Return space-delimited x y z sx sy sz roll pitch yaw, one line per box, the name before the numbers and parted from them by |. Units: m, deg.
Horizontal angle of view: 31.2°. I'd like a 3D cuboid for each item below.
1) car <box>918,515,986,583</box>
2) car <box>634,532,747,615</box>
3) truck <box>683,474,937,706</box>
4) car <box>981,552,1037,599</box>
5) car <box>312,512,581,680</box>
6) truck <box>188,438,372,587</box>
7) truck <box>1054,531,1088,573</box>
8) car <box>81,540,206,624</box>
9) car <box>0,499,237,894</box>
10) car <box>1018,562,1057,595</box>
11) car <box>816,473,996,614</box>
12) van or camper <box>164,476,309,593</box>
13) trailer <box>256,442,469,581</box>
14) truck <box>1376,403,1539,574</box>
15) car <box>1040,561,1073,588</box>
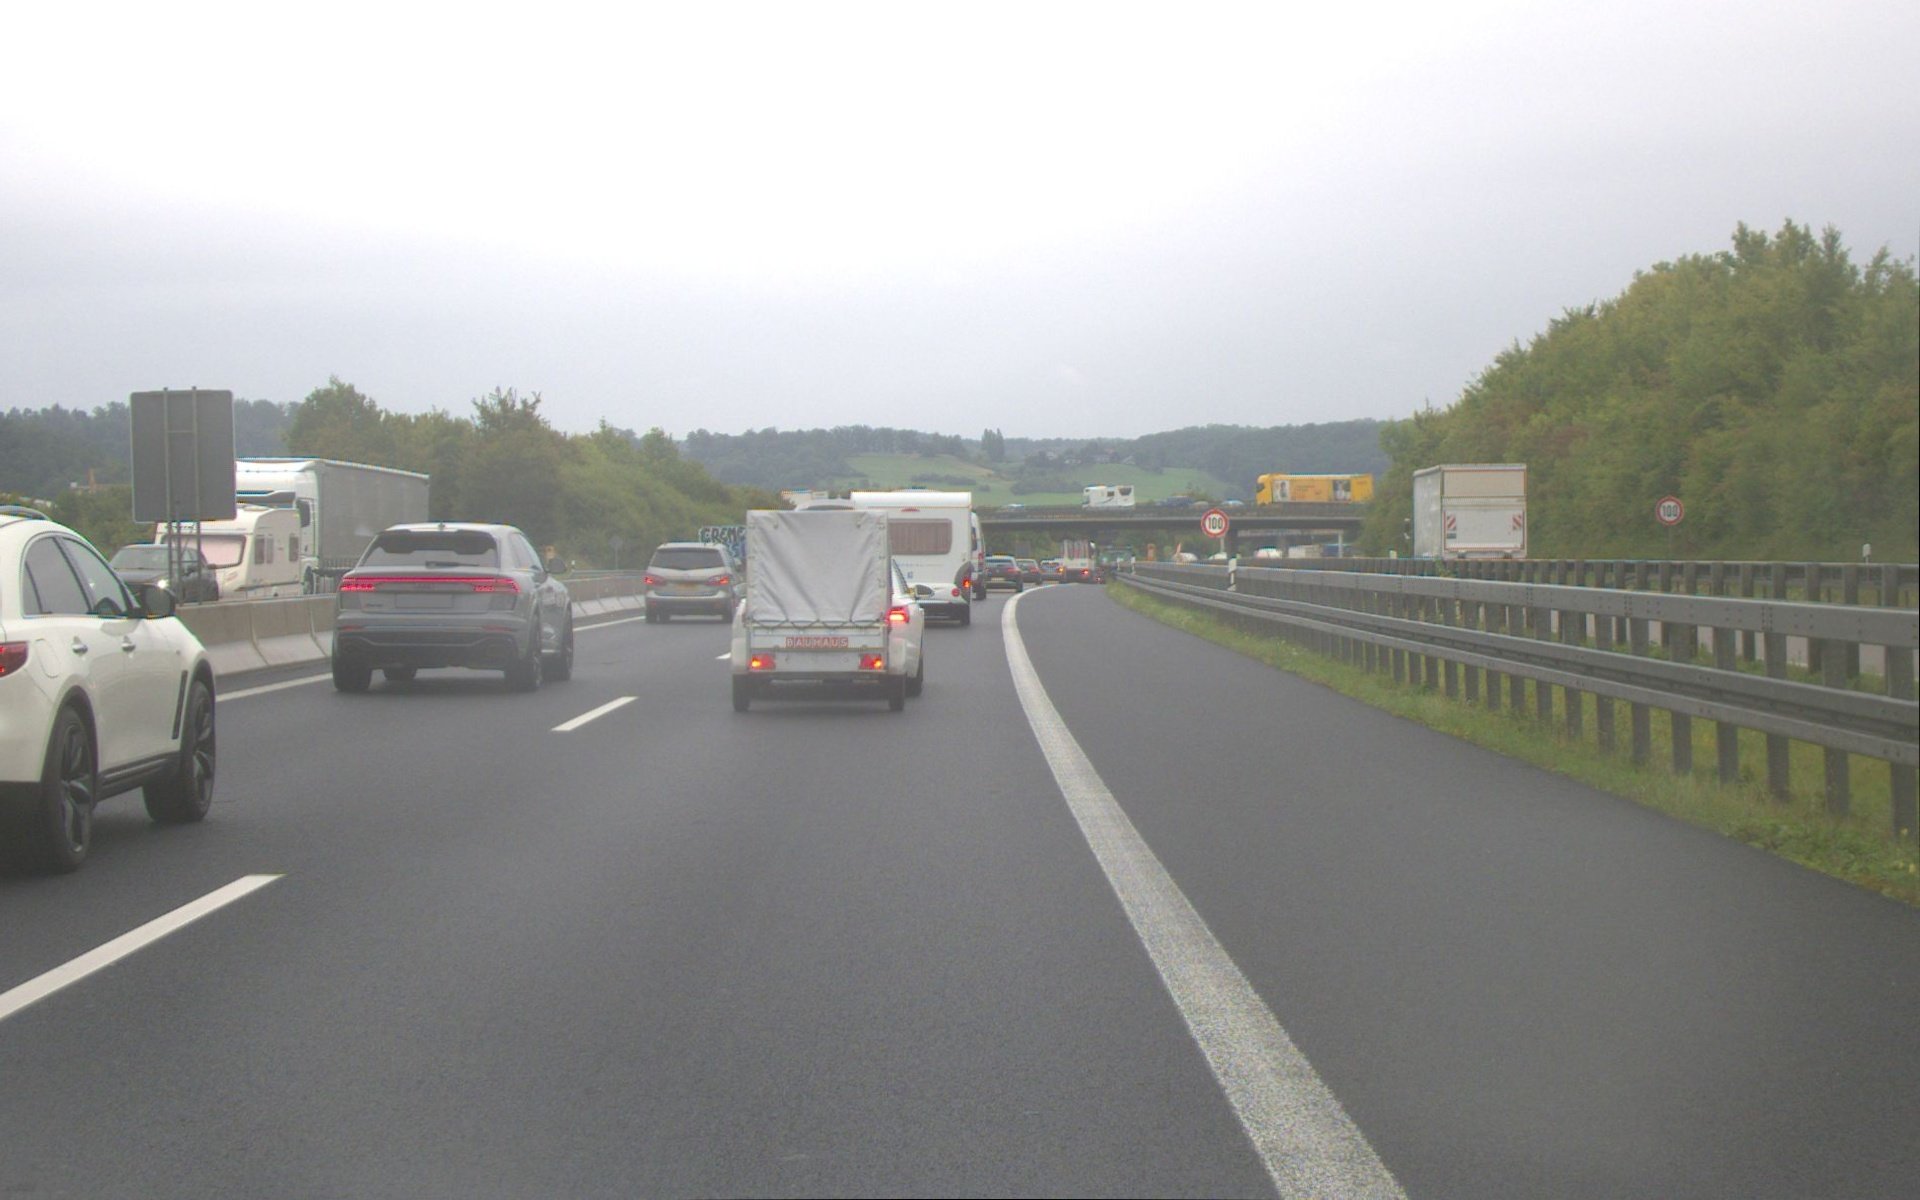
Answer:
car | -0.270 -1.548 105.287 1.993 2.029 4.152 1 1 -1
car | -5.366 -0.548 68.921 1.900 1.607 4.017 0 1 1
truck | -1.305 -0.151 33.006 2.019 1.979 7.213 0 1 1
car | 1.910 -0.961 132.451 1.994 1.744 4.000 1 1 3
car | -5.253 -0.069 35.781 2.174 1.626 4.501 0 1 -1
truck | -19.296 -2.463 98.008 3.260 4.069 7.440 0 1 4
truck | 8.394 -3.612 259.182 2.278 3.072 7.245 1 1 4
car | -16.441 -0.390 69.426 1.527 1.615 4.388 0 1 -1
car | -4.897 0.374 16.448 1.976 1.633 4.501 0 1 -1
car | 4.266 -1.194 188.734 1.994 1.744 4.000 1 1 3
car | -0.971 -1.102 66.807 3.017 2.607 6.074 0 1 4
van or camper | -15.852 -1.437 75.622 1.795 2.461 5.547 0 1 3
trailer | -18.537 -2.728 107.932 3.260 4.069 13.843 0 1 4
truck | 15.415 -3.413 107.381 4.094 5.086 10.462 0 1 3
car | 6.532 -1.727 231.779 1.994 1.744 3.999 1 1 4
